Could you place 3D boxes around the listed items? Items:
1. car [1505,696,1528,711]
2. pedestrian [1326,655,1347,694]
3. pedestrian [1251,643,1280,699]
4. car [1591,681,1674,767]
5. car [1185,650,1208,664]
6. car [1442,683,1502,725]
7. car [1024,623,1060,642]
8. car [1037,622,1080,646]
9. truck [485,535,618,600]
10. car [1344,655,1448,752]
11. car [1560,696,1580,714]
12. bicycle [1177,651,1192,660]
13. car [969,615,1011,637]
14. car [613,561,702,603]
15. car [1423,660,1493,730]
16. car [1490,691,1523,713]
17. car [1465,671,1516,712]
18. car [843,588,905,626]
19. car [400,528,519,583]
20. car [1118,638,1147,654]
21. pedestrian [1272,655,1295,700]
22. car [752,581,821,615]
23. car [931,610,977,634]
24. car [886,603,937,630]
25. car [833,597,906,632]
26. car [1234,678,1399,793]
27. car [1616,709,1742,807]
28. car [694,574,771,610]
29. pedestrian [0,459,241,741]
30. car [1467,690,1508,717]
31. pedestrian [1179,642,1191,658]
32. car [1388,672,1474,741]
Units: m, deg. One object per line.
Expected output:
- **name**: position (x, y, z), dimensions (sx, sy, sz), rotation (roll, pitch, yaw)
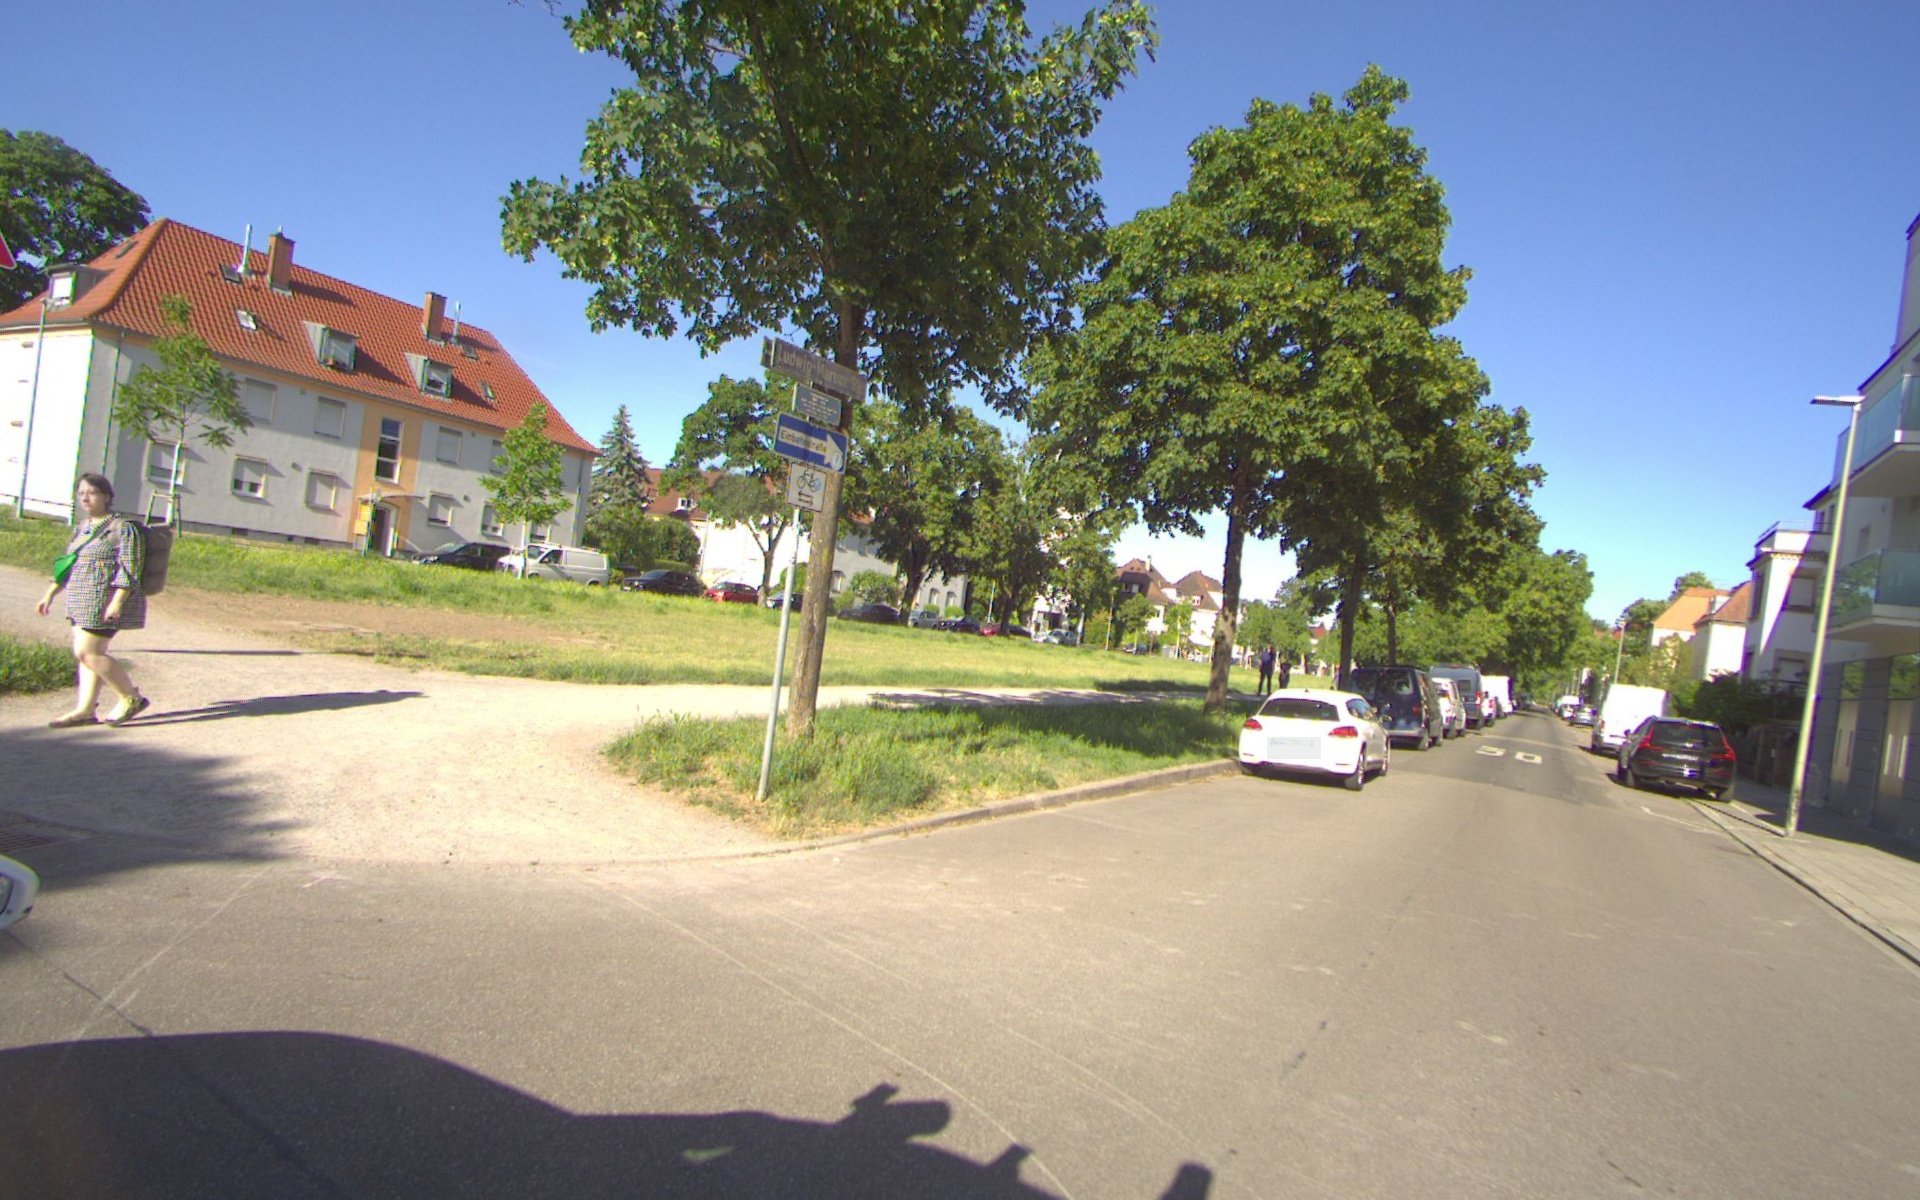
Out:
- **car**: position (67.721, 12.563, 122.425), dimensions (2.047, 1.483, 4.719), rotation (8, 0, 32)
- **pedestrian**: position (19.419, 3.862, 51.874), dimensions (0.712, 1.899, 0.628), rotation (8, 1, 30)
- **pedestrian**: position (10.915, 2.533, 35.985), dimensions (0.633, 1.899, 0.628), rotation (8, 1, 30)
- **car**: position (23.445, 4.281, 35.221), dimensions (1.990, 2.579, 3.987), rotation (7, -1, 32)
- **car**: position (30.892, 7.443, 131.280), dimensions (1.693, 1.358, 3.803), rotation (8, 0, 31)
- **car**: position (24.607, 4.958, 48.251), dimensions (2.051, 1.618, 4.280), rotation (8, 0, 32)
- **car**: position (7.569, 2.997, 92.558), dimensions (1.693, 1.358, 3.803), rotation (8, 0, 31)
- **car**: position (8.603, 2.987, 87.636), dimensions (1.857, 1.628, 4.240), rotation (8, 0, 31)
- **truck**: position (-17.214, -1.320, 42.679), dimensions (1.966, 2.060, 4.867), rotation (8, 0, 30)
- **car**: position (11.071, 2.583, 25.380), dimensions (1.755, 2.108, 3.987), rotation (3, -3, 32)
- **car**: position (77.660, 13.376, 128.033), dimensions (1.835, 1.868, 3.986), rotation (10, 2, 32)
- **bicycle**: position (26.932, 6.671, 120.793), dimensions (1.036, 0.949, 2.762), rotation (8, 0, 26)
- **car**: position (2.505, 2.170, 82.865), dimensions (1.693, 1.358, 3.803), rotation (8, 0, 31)
- **car**: position (-15.421, -0.888, 51.438), dimensions (1.693, 1.602, 4.134), rotation (8, 0, 31)
- **car**: position (21.068, 3.992, 42.467), dimensions (2.158, 2.614, 4.280), rotation (3, -3, 32)
- **car**: position (45.014, 8.383, 82.830), dimensions (2.047, 1.483, 4.719), rotation (8, 0, 32)
- **car**: position (36.972, 6.352, 70.078), dimensions (2.509, 2.362, 5.909), rotation (8, 0, 32)
- **car**: position (-5.822, 0.505, 68.454), dimensions (1.840, 2.038, 4.249), rotation (8, 0, 31)
- **car**: position (-20.888, -1.817, 42.138), dimensions (1.693, 1.684, 4.058), rotation (8, 0, 31)
- **car**: position (19.110, 5.086, 111.339), dimensions (1.693, 1.358, 3.803), rotation (8, 0, 31)
- **pedestrian**: position (11.386, 2.737, 35.389), dimensions (0.488, 1.524, 0.534), rotation (8, 1, 31)
- **car**: position (-10.379, -0.098, 60.541), dimensions (1.693, 1.459, 4.134), rotation (8, 0, 31)
- **car**: position (-0.420, 1.719, 77.606), dimensions (1.693, 1.358, 3.803), rotation (8, 0, 31)
- **car**: position (-3.456, 1.194, 72.700), dimensions (1.693, 1.516, 3.803), rotation (8, 0, 31)
- **car**: position (-5.480, 0.910, 61.756), dimensions (1.966, 1.543, 4.750), rotation (8, -1, 30)
- **car**: position (5.838, 2.088, 16.185), dimensions (1.711, 1.449, 3.988), rotation (3, -3, 31)
- **car**: position (16.182, 3.483, 22.853), dimensions (1.865, 1.702, 4.281), rotation (6, -1, 32)
- **car**: position (-12.718, -0.444, 56.457), dimensions (1.693, 1.459, 4.134), rotation (8, 0, 31)
- **pedestrian**: position (-5.823, -0.034, 6.878), dimensions (0.896, 1.698, 1.088), rotation (8, 5, 14)
- **car**: position (33.780, 6.597, 64.327), dimensions (1.903, 1.360, 4.102), rotation (8, -1, 32)
- **pedestrian**: position (27.076, 6.014, 120.890), dimensions (1.035, 1.730, 0.692), rotation (8, 1, 26)
- **car**: position (15.190, 3.396, 32.327), dimensions (1.847, 1.906, 4.414), rotation (3, -3, 33)
